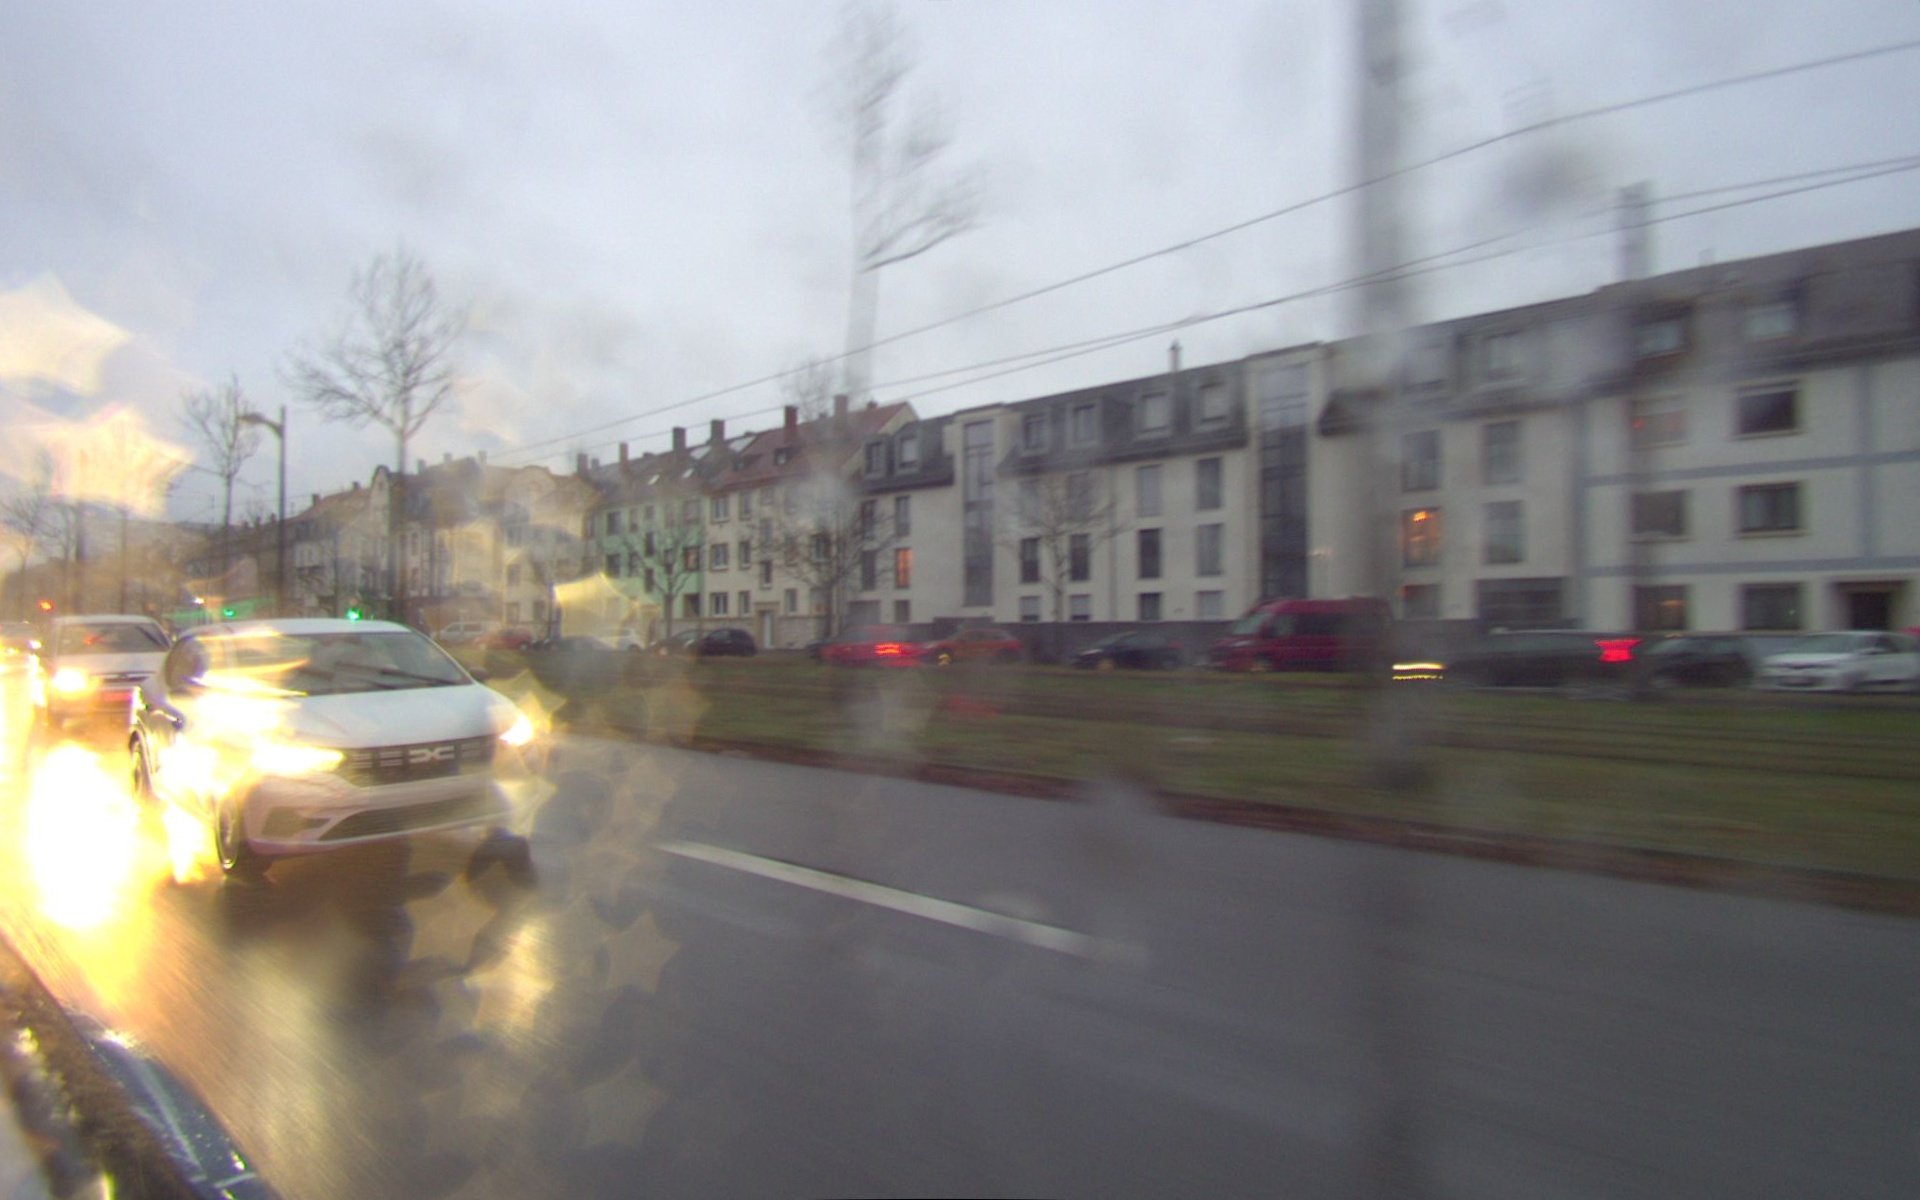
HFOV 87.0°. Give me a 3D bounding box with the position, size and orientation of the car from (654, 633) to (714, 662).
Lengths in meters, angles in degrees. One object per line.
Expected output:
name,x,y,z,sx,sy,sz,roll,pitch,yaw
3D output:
car,-14.237,2.420,52.176,2.887,1.346,1.743,-2,0,-17

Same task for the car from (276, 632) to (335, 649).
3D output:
car,-58.140,3.560,89.980,4.039,1.169,1.716,-3,2,-11

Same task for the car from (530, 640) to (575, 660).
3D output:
car,-24.118,2.959,59.898,2.351,1.056,1.441,-2,-1,-17

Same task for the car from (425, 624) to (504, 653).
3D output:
car,-33.690,2.600,68.907,4.580,1.736,1.838,-2,0,-16

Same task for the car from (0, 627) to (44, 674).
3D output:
car,-32.465,1.688,34.216,3.655,1.495,1.880,-2,-1,42

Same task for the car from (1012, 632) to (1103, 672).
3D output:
car,3.568,1.904,37.149,3.048,1.312,1.391,-1,0,-8

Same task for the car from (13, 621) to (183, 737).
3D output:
car,-13.461,1.128,15.727,3.908,1.531,1.616,-2,-1,44

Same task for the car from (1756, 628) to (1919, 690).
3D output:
car,19.527,1.245,22.154,3.360,1.156,1.697,-1,0,-18

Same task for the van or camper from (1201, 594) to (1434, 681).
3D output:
van or camper,10.973,1.101,31.109,6.764,2.378,2.006,-1,0,-16

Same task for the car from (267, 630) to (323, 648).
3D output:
car,-60.364,3.536,91.949,3.977,1.239,1.352,-3,2,-13

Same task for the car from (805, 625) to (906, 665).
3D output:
car,-4.482,1.904,43.279,4.093,1.552,1.674,-1,0,-13

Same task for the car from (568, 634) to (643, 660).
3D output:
car,-19.648,2.597,56.209,3.778,1.255,1.743,-2,0,-16

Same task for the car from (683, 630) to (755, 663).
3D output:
car,-11.886,2.257,49.814,3.328,1.432,1.675,-1,0,-17

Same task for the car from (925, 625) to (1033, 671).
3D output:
car,0.725,1.846,39.490,3.783,1.600,1.747,-1,0,-17

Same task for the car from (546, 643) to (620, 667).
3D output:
car,-21.653,3.157,58.194,3.758,1.181,1.742,-2,0,-12

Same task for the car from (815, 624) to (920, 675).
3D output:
car,-3.215,1.675,34.844,3.506,1.635,1.597,-2,-1,41

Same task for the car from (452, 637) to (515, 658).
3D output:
car,-31.248,3.121,66.492,3.511,1.149,1.742,-2,0,-17

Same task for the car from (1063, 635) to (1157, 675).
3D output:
car,5.109,1.867,34.549,2.842,1.213,1.391,-1,0,-8

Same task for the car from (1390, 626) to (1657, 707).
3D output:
car,12.101,1.364,21.916,4.785,1.514,1.861,-2,-1,40

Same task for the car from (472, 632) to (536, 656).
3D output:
car,-29.107,2.787,64.639,3.519,1.319,1.691,-2,0,-17

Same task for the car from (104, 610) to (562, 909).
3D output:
car,-4.573,0.863,7.121,4.000,1.485,1.670,-2,-1,42

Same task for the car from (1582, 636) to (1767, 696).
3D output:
car,17.088,1.538,24.249,3.480,1.209,1.888,-1,0,-18
